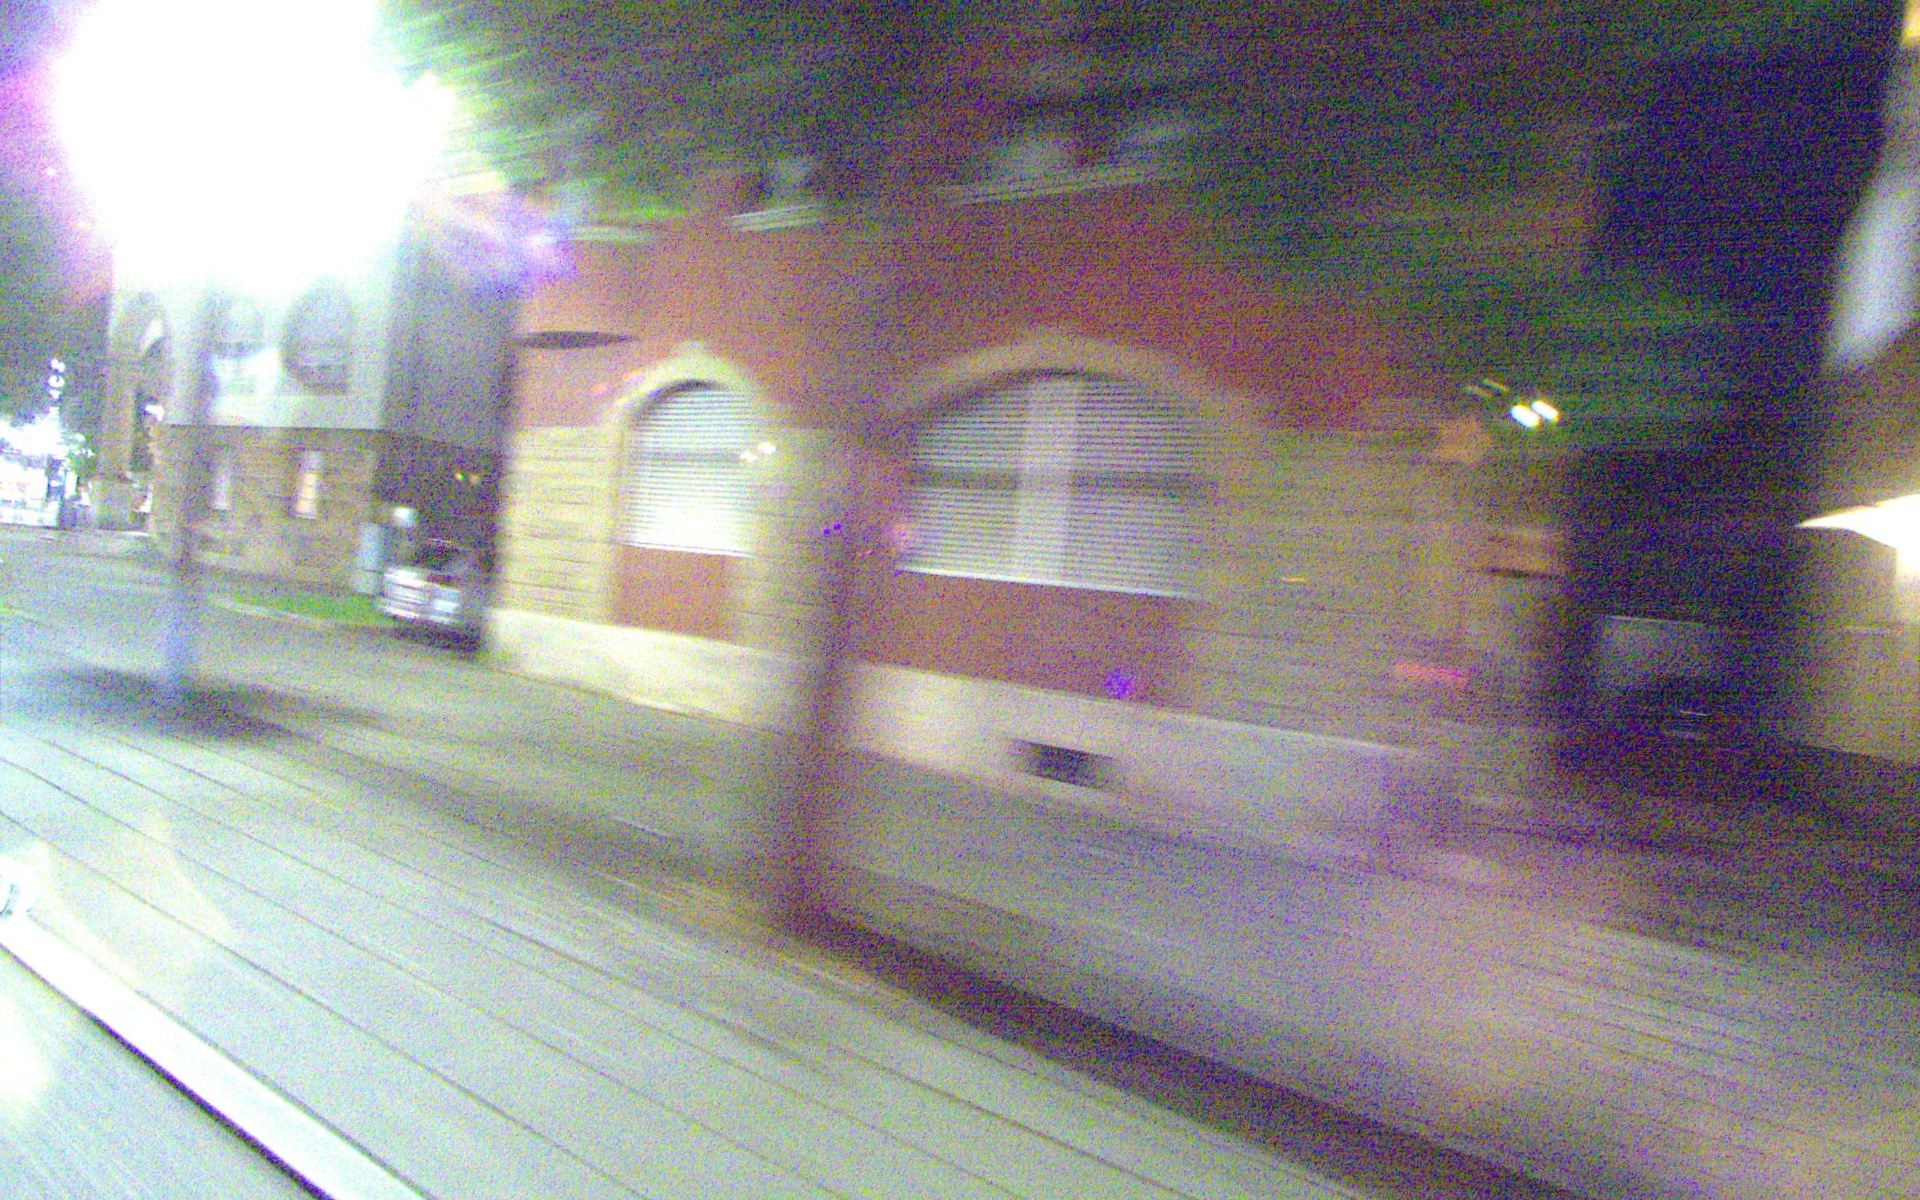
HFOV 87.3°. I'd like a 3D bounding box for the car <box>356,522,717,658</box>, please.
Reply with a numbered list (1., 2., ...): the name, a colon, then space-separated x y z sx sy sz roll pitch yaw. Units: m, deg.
1. car: -5.867 -0.055 14.474 1.761 1.478 4.425 8 1 36
